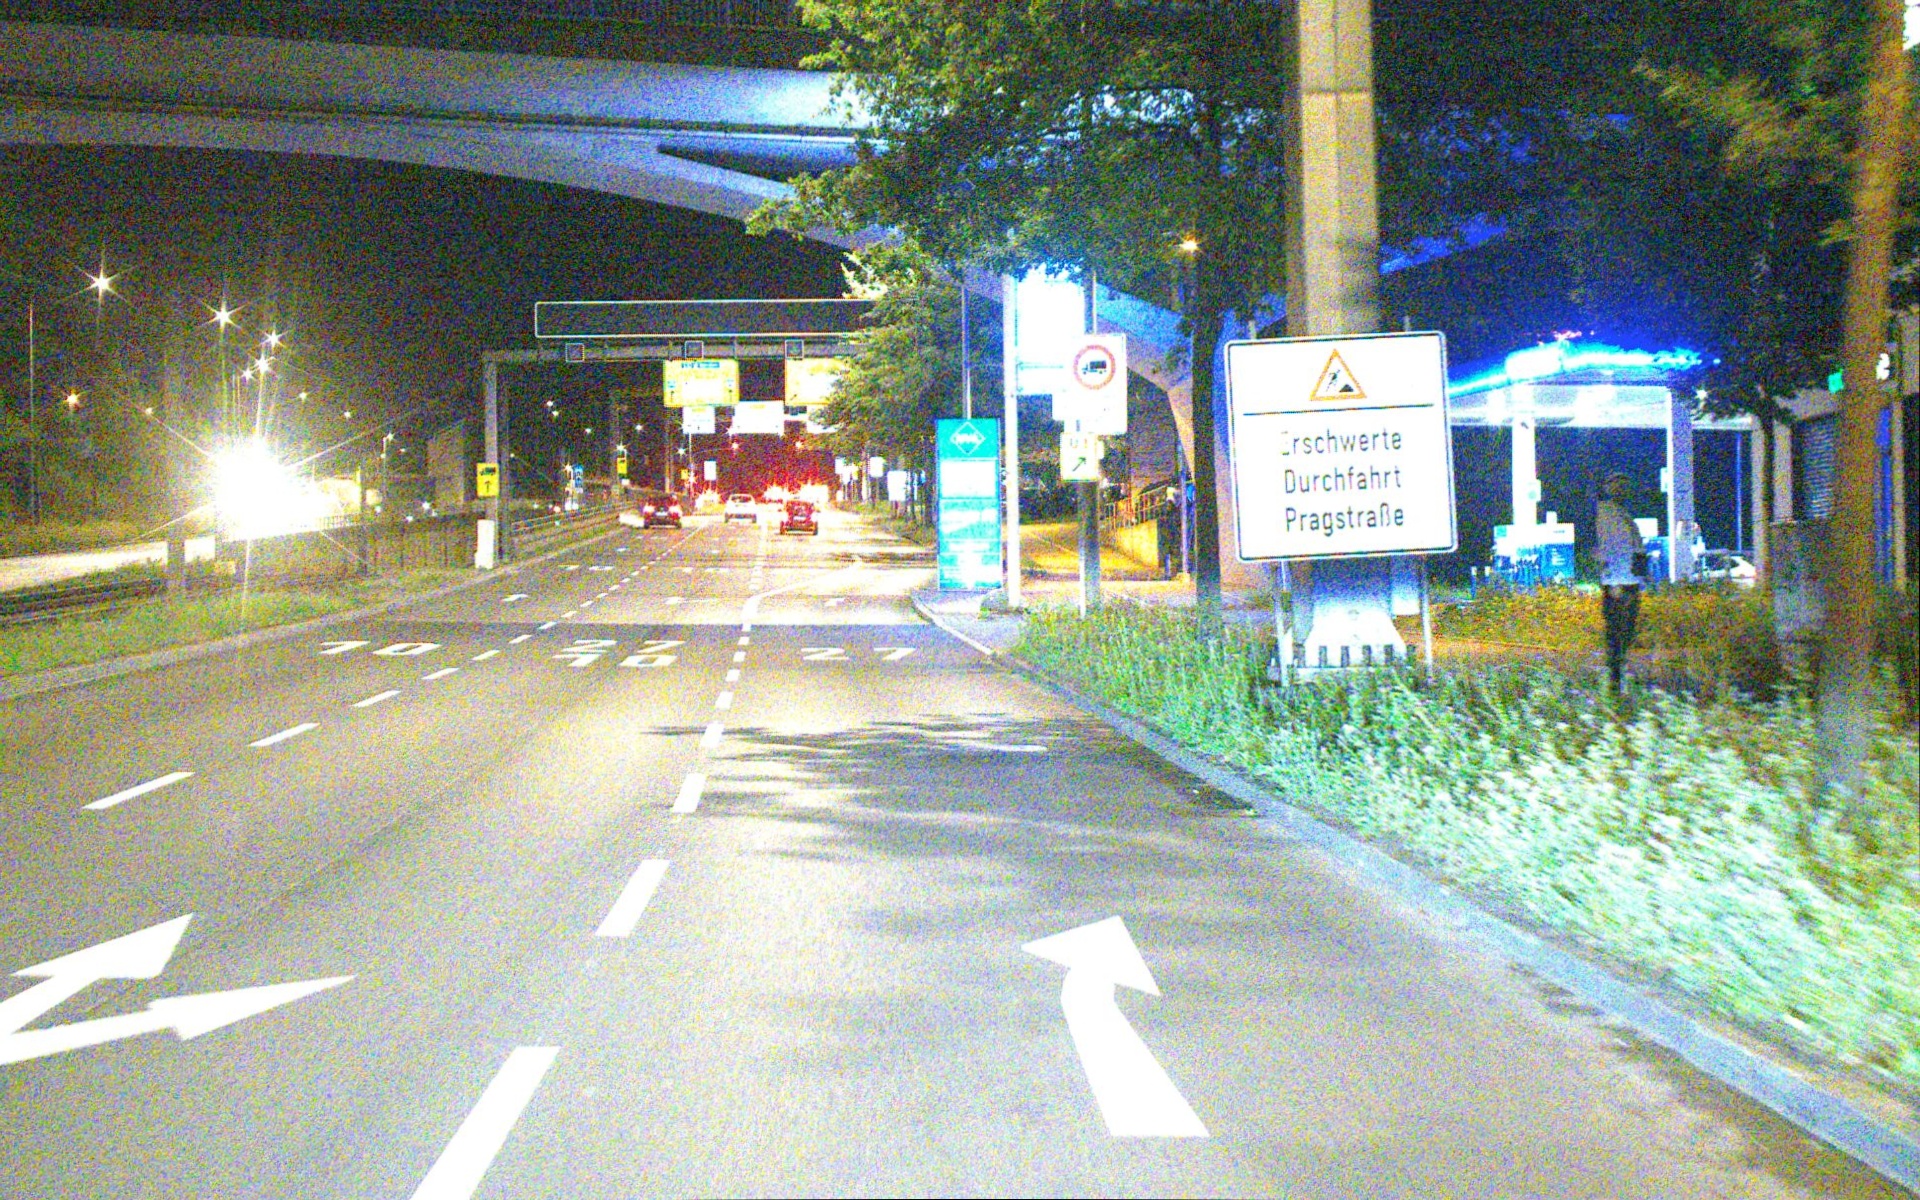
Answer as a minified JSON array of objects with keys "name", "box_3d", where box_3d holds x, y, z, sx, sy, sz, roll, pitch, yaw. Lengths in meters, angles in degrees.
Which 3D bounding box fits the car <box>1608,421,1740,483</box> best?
[{"name":"car","box_3d":[22.987,-4.772,110.769,3.808,1.889,1.753,-1,1,-6]}]

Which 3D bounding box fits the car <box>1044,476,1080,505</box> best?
[{"name":"car","box_3d":[5.781,-6.188,194.724,1.893,1.506,3.636,1,0,4]}]

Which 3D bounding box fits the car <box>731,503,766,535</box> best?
[{"name":"car","box_3d":[-11.959,-4.578,194.333,1.782,1.705,4.000,1,0,-1]}]

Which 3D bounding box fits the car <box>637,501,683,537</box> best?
[{"name":"car","box_3d":[-14.685,-3.954,168.387,1.968,1.705,4.000,1,0,-1]}]

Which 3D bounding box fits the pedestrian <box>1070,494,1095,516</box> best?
[{"name":"pedestrian","box_3d":[5.881,-4.586,165.550,0.913,1.035,0.770,0,1,40]}]

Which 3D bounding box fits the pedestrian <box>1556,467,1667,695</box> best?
[{"name":"pedestrian","box_3d":[5.623,-0.170,29.695,0.805,1.906,0.793,-3,1,7]}]

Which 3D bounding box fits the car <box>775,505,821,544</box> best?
[{"name":"car","box_3d":[-7.545,-3.513,160.245,1.968,1.705,4.000,1,0,-1]}]

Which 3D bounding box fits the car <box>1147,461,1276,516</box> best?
[{"name":"car","box_3d":[8.201,-3.637,112.429,3.987,1.566,1.738,-2,1,-1]}]

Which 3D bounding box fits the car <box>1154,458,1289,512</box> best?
[{"name":"car","box_3d":[8.362,-3.673,110.093,4.119,1.517,1.822,-2,0,-1]}]
